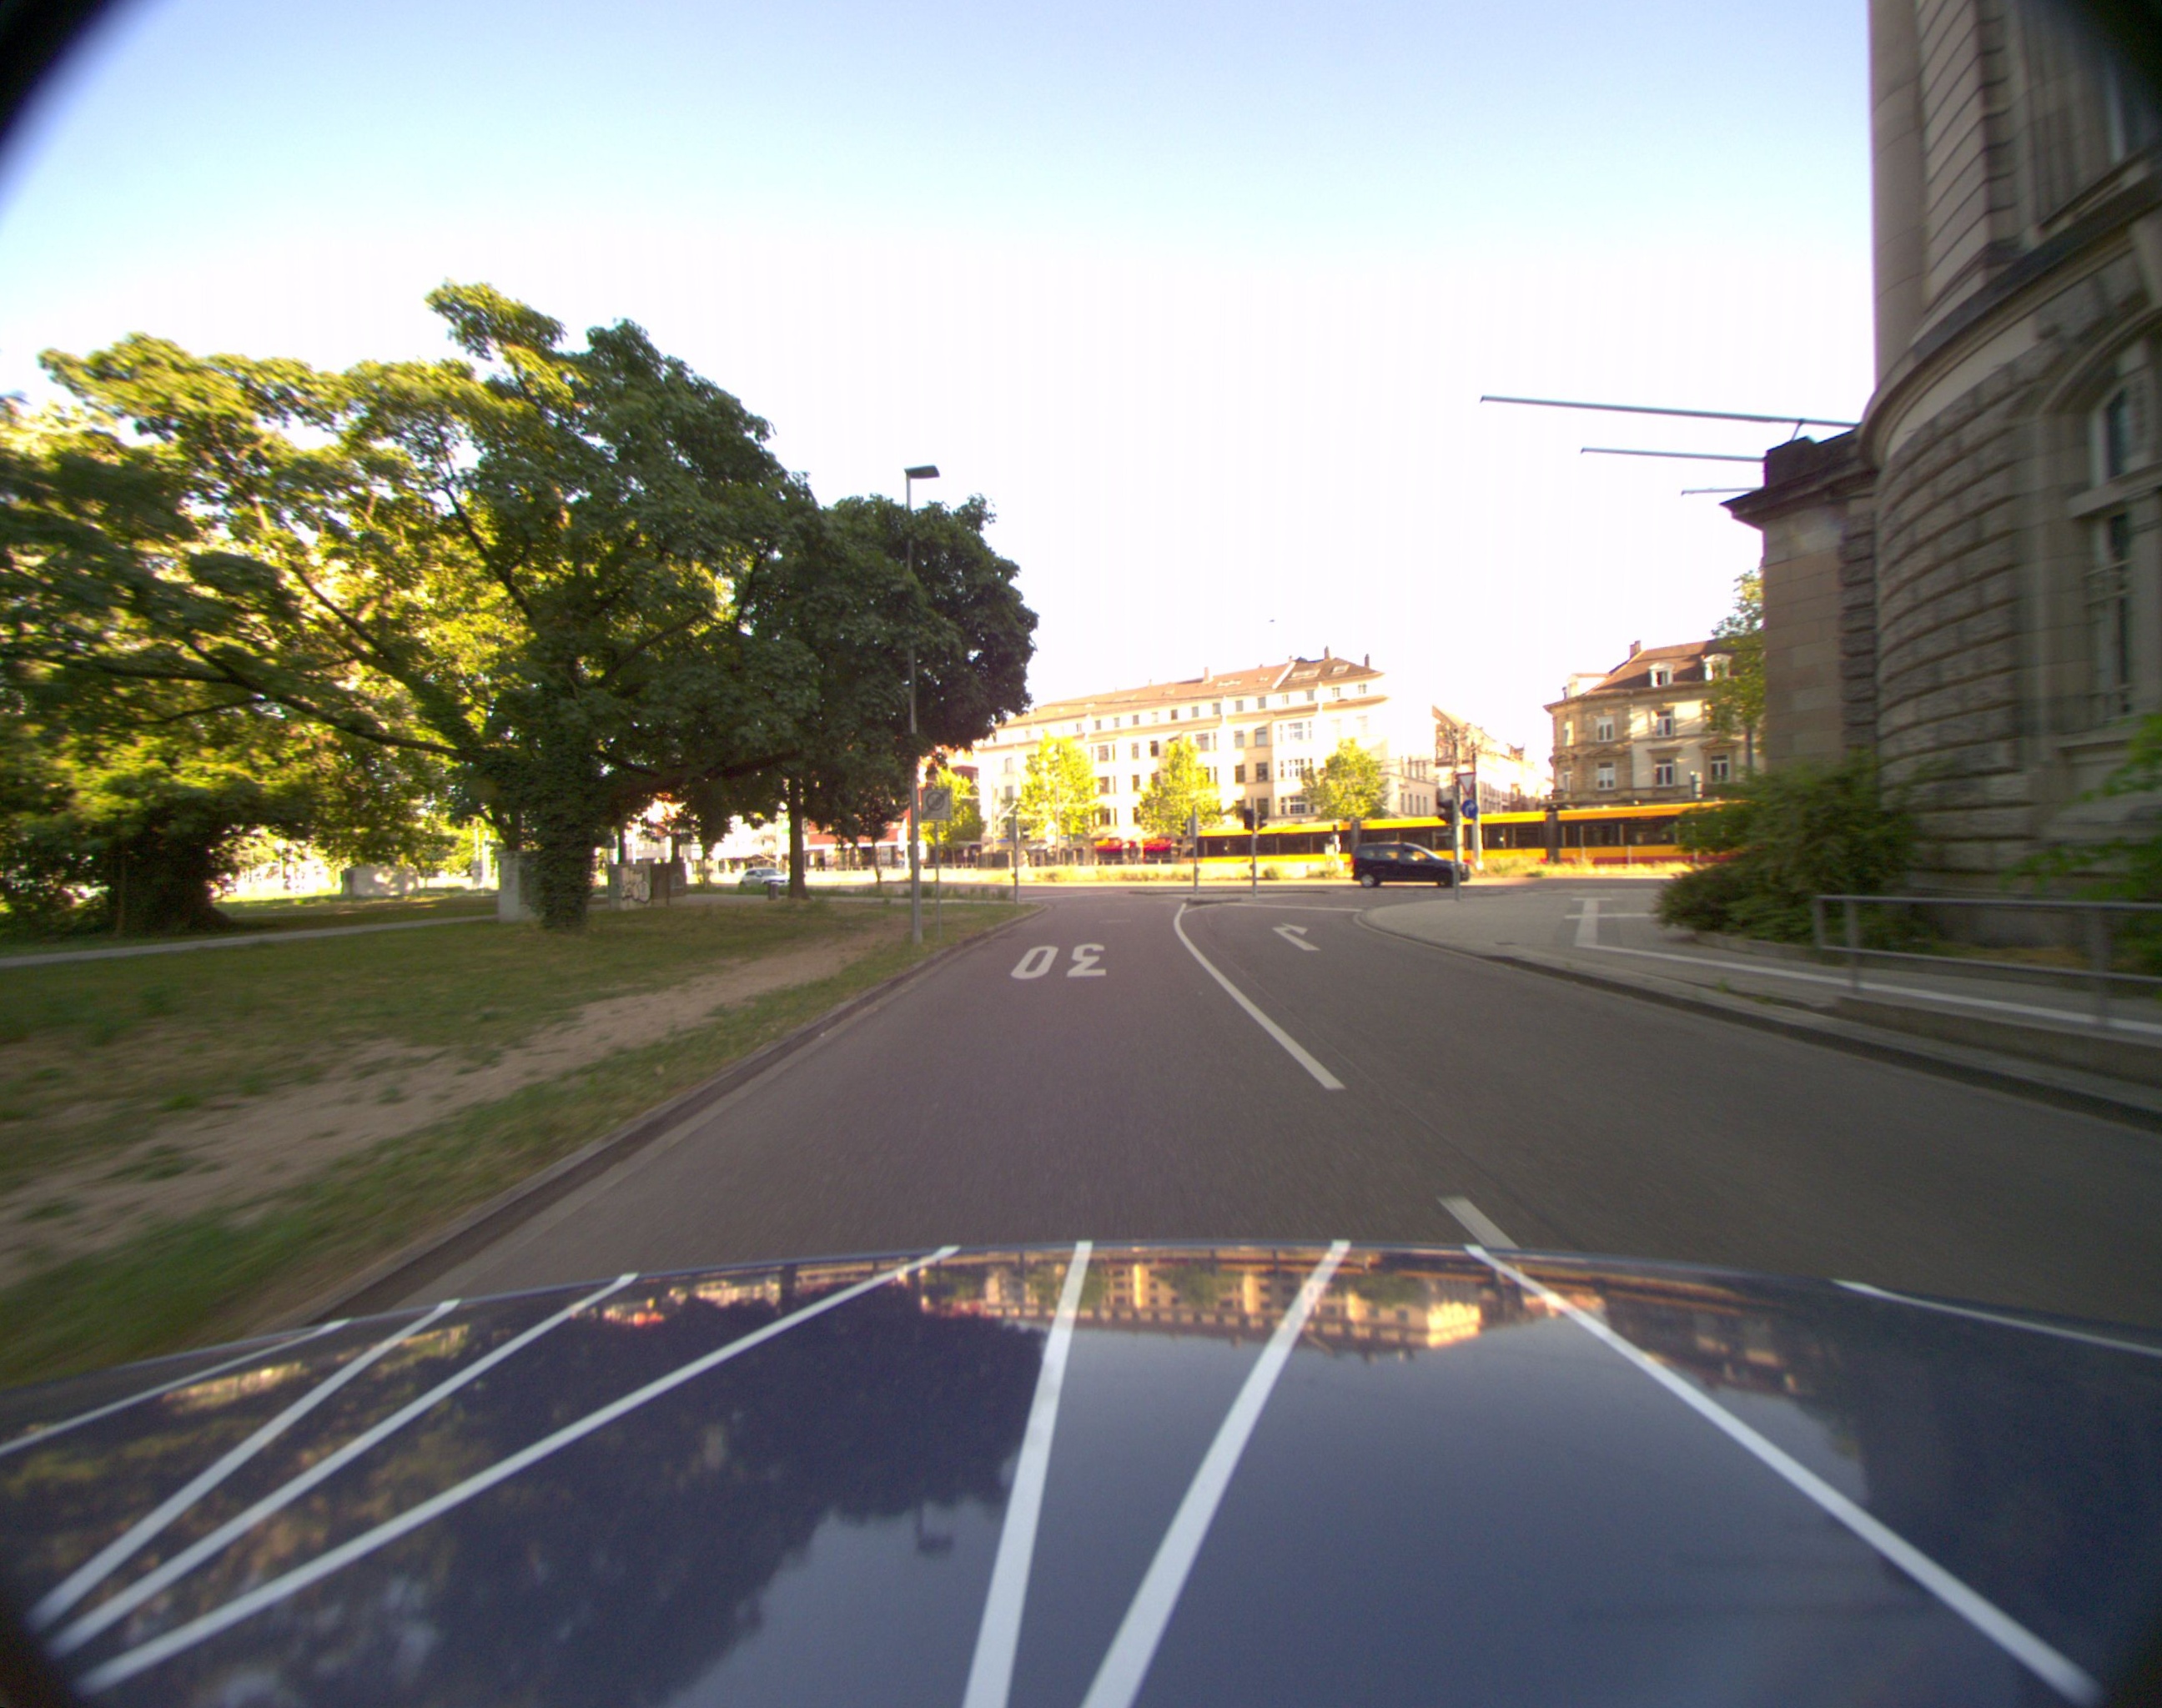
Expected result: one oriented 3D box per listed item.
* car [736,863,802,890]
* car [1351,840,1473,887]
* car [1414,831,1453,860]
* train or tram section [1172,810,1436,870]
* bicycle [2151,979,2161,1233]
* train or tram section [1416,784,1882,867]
[{"bbox_3d":[-18.999,1.342,46.201,4.266,1.528,1.838,-1,2,38],"label":"car"},{"bbox_3d":[13.113,0.391,30.172,4.136,1.722,1.774,-2,1,33],"label":"car"},{"bbox_3d":[29.729,-0.741,63.959,2.464,2.253,7.305,-1,0,29],"label":"car"},{"bbox_3d":[14.867,-0.791,52.791,17.429,3.538,3.128,-1,0,34],"label":"train or tram section"},{"bbox_3d":[4.851,1.060,2.144,0.664,1.064,2.153,-1,0,1],"label":"bicycle"},{"bbox_3d":[29.254,-1.172,41.589,19.876,3.538,3.129,-1,0,42],"label":"train or tram section"}]
